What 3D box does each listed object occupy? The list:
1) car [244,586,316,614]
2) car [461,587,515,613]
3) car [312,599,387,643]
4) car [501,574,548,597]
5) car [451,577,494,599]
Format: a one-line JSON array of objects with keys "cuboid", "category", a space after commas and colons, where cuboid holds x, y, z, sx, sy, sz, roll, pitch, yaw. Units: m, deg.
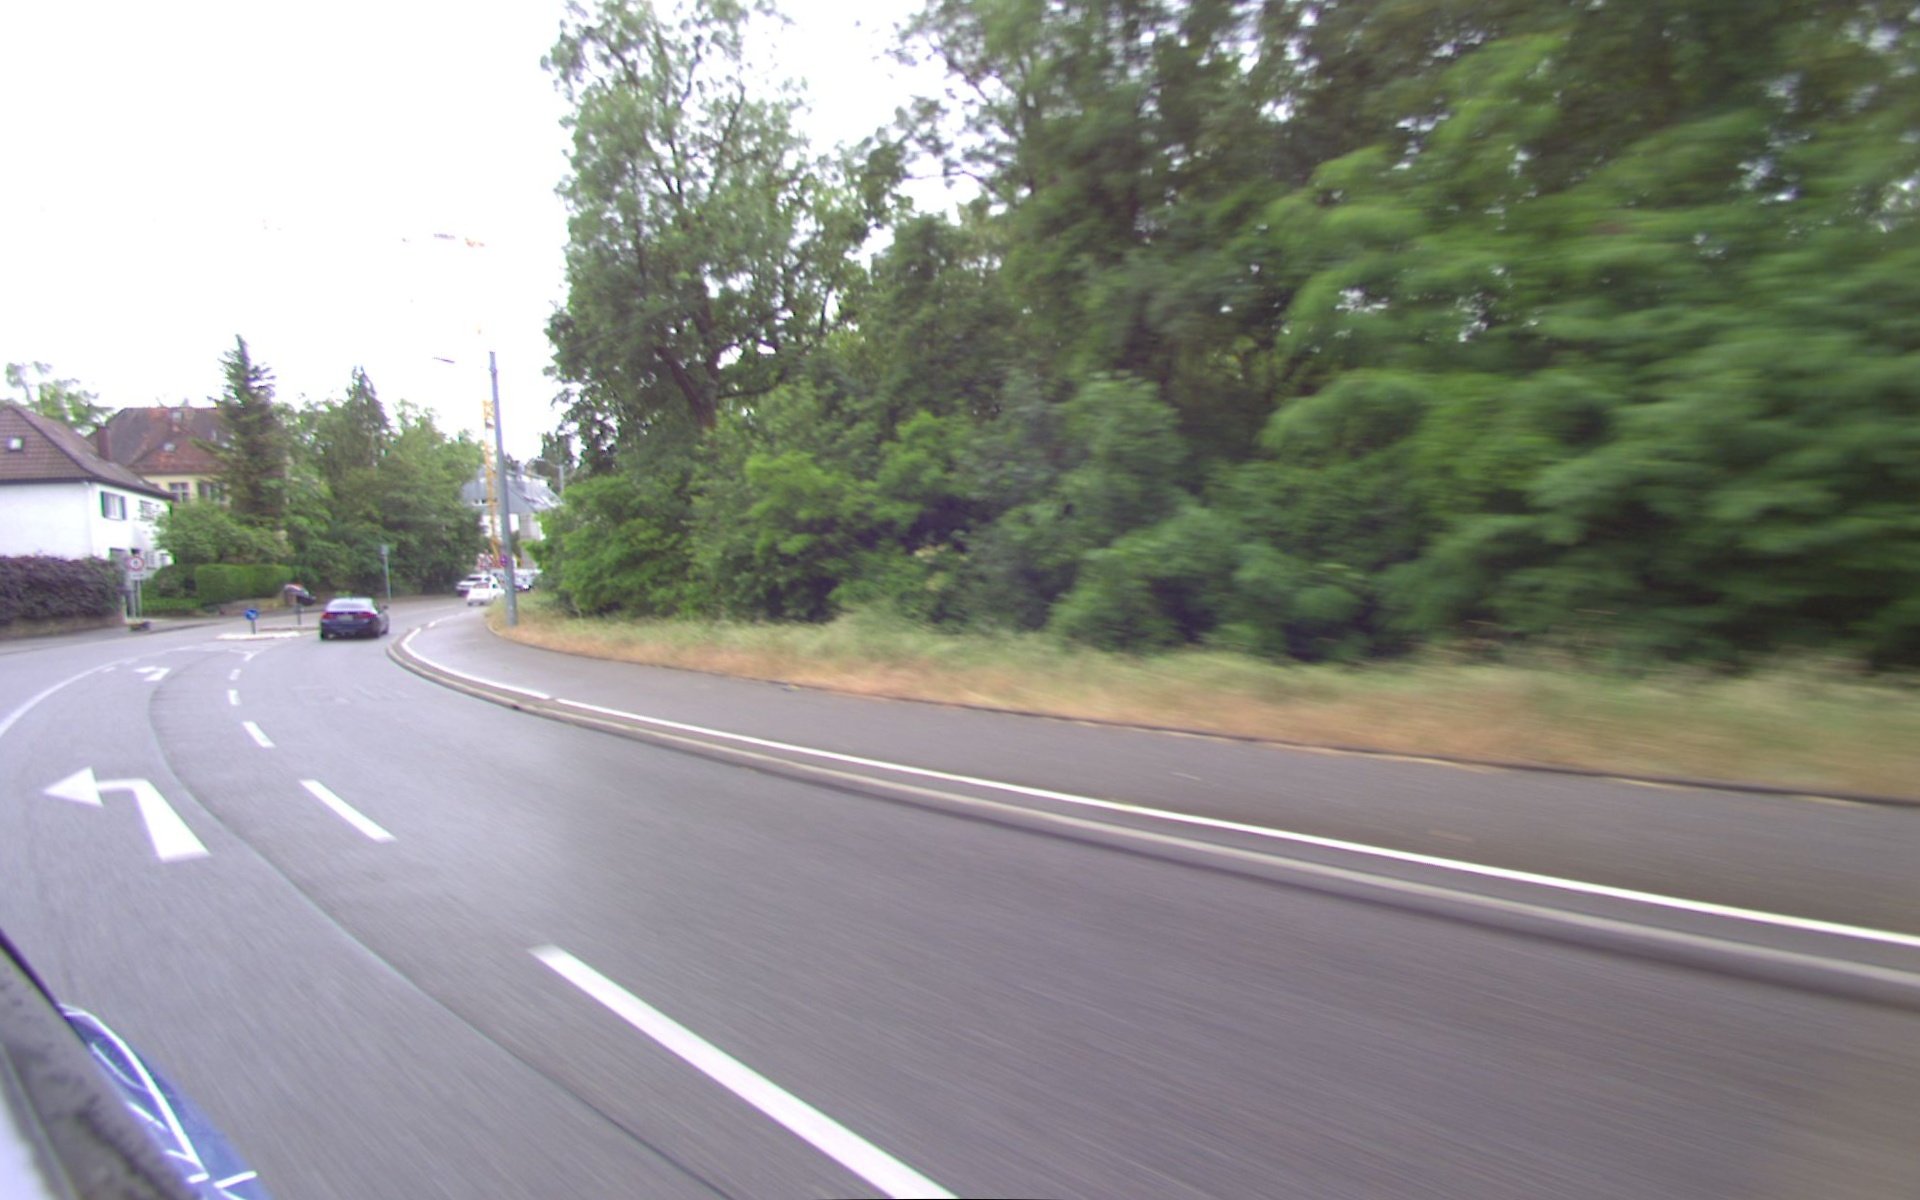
[{"cuboid": [-43.051, -0.036, 64.126, 3.431, 1.422, 1.431, -5, 3, -12], "category": "car"}, {"cuboid": [-30.623, -0.019, 65.740, 1.551, 1.488, 3.662, -2, 1, 5], "category": "car"}, {"cuboid": [-22.470, 0.738, 37.408, 1.820, 1.512, 4.647, 0, 0, -24], "category": "car"}, {"cuboid": [-35.015, -1.197, 81.496, 1.972, 1.729, 3.999, -1, 2, 1], "category": "car"}, {"cuboid": [-38.310, -0.931, 79.639, 1.804, 1.607, 4.006, 0, 2, -6], "category": "car"}]
